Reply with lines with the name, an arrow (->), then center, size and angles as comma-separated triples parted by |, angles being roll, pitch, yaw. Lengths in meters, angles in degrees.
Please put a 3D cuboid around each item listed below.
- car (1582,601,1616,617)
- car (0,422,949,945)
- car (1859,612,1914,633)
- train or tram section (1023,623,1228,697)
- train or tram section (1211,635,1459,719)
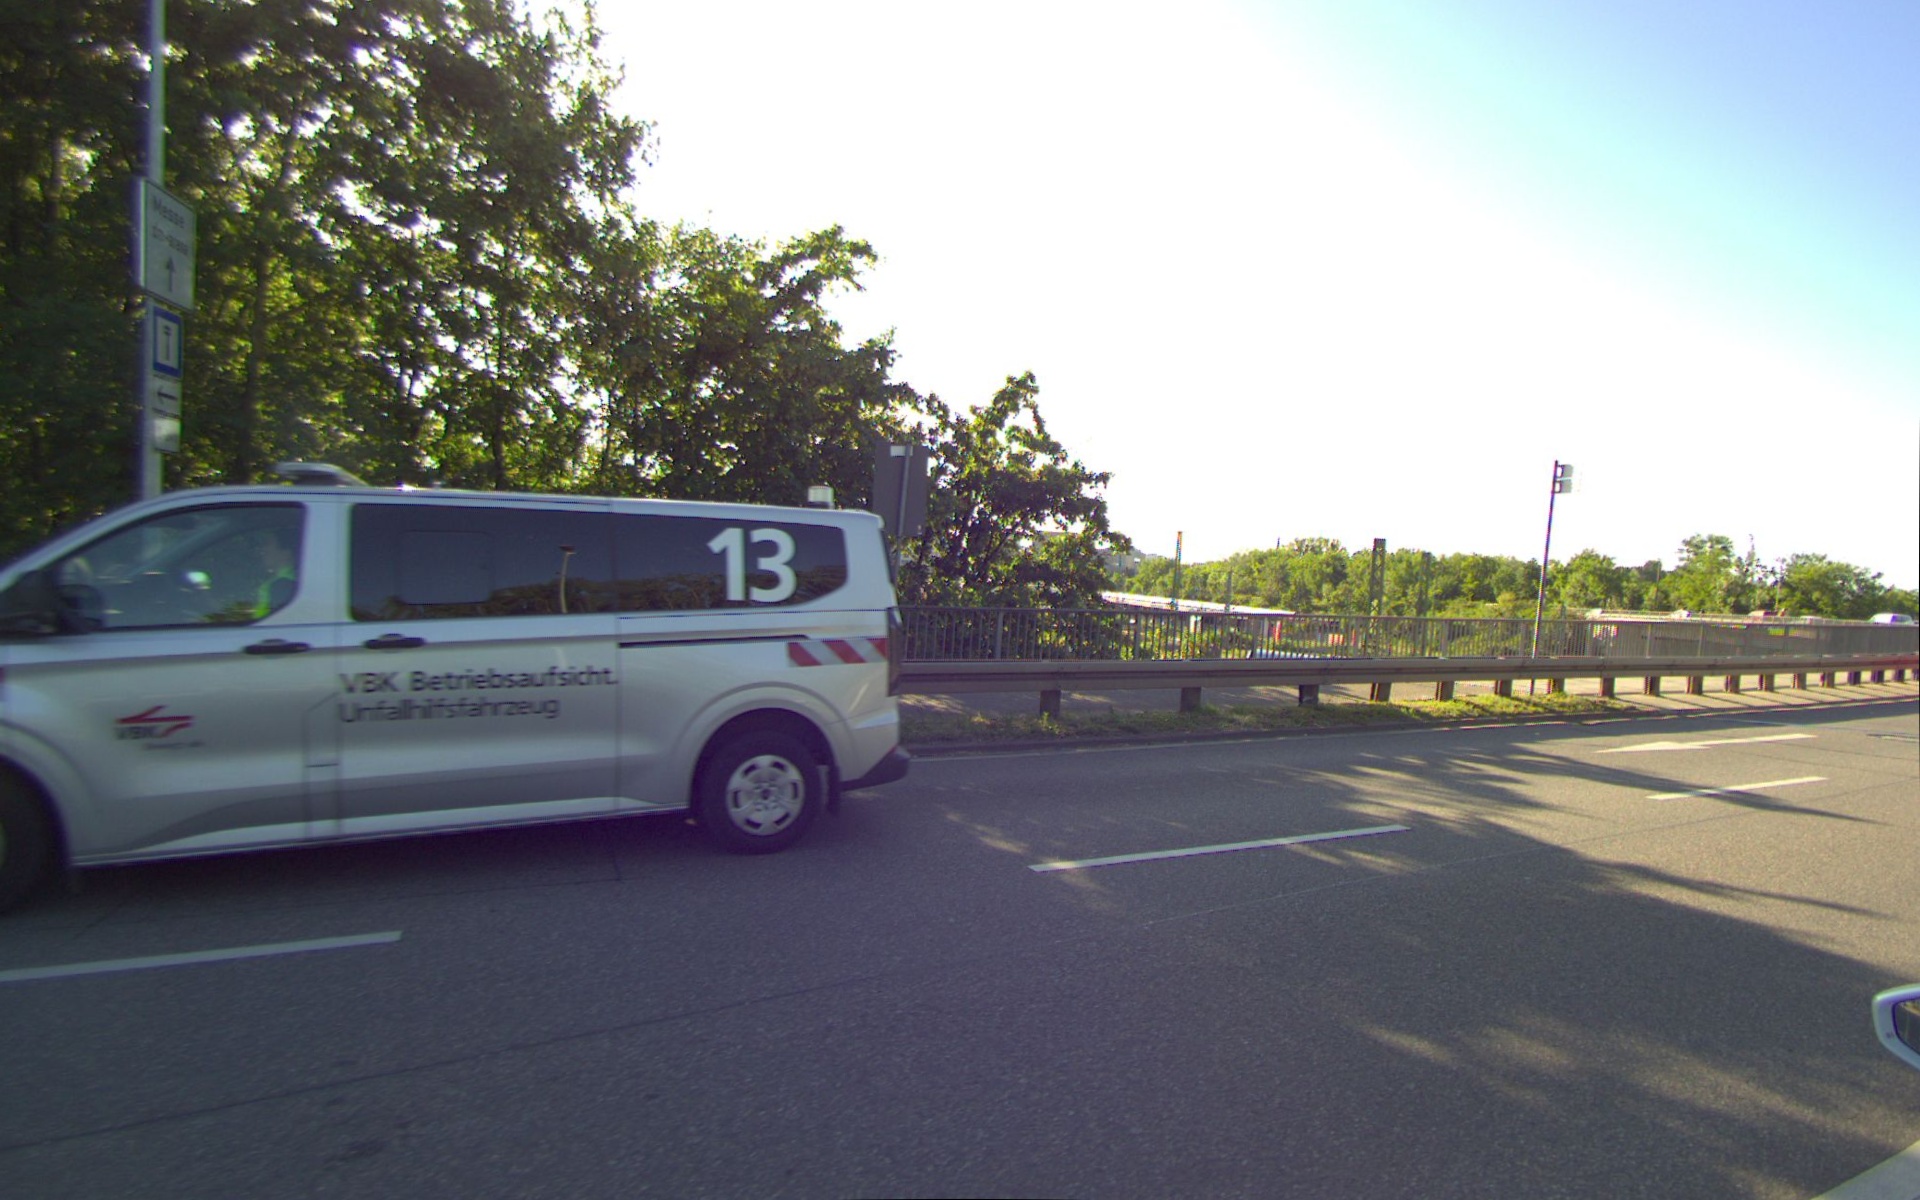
car -> 88.943, 1.241, 139.951 | 1.925, 1.977, 3.997 | 2, 1, -4
car -> -2.839, 0.368, 5.688 | 5.199, 2.141, 1.943 | 1, 0, -25
car -> 79.091, 1.874, 85.801 | 1.804, 1.576, 3.894 | 3, 1, 16
train or tram section -> 13.271, 4.713, 82.008 | 16.021, 4.653, 3.898 | 3, 1, 30
train or tram section -> 27.251, 5.414, 73.825 | 16.470, 4.653, 3.898 | 3, 1, 30
